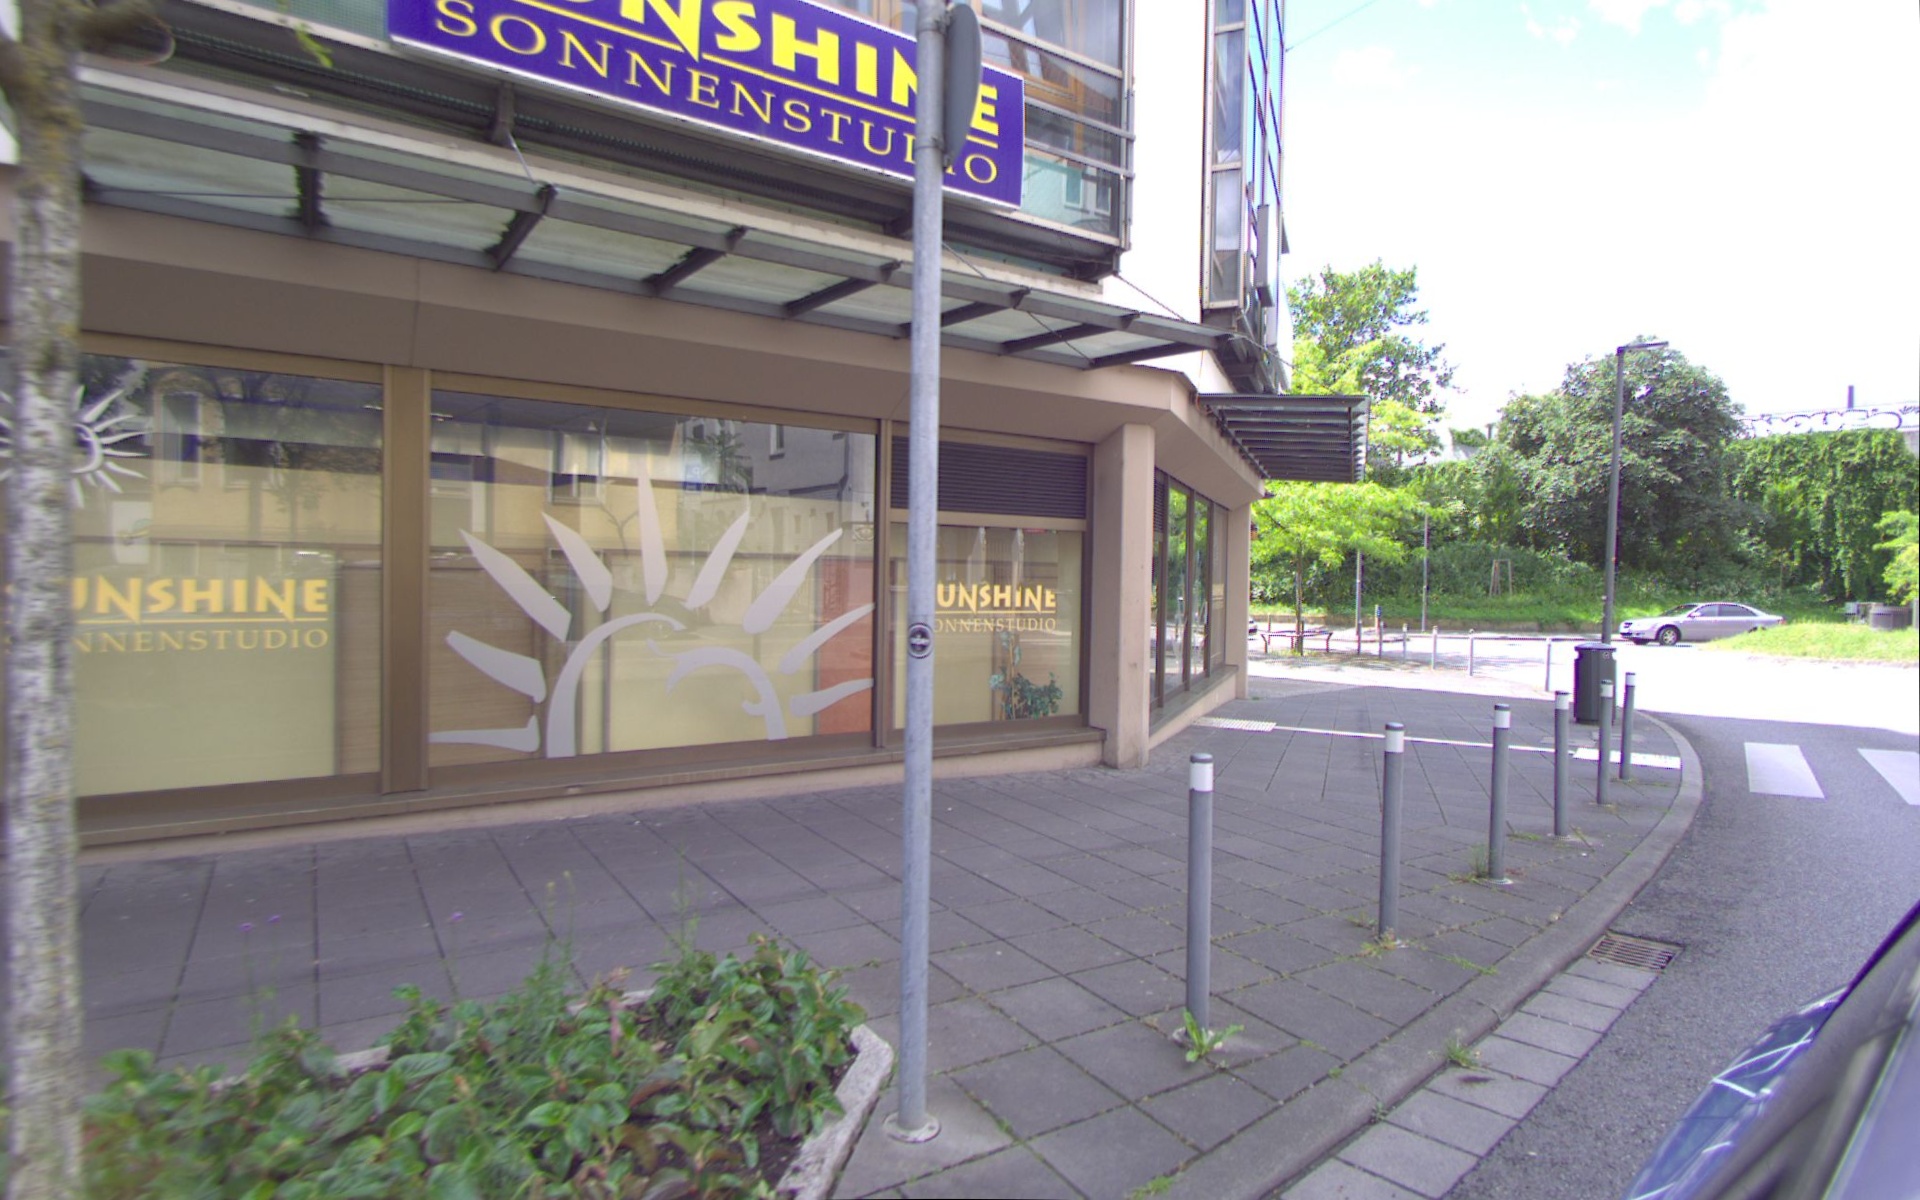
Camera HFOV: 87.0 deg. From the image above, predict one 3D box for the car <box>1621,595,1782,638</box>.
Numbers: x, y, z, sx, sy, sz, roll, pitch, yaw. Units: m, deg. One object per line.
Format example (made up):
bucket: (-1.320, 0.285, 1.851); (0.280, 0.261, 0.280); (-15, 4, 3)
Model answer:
car: (24.448, 0.516, 33.493); (3.933, 1.371, 1.711); (0, 0, 8)

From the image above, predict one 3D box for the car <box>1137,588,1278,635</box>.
car: (8.760, 0.347, 36.068); (1.967, 1.526, 4.575); (-2, 2, -42)
